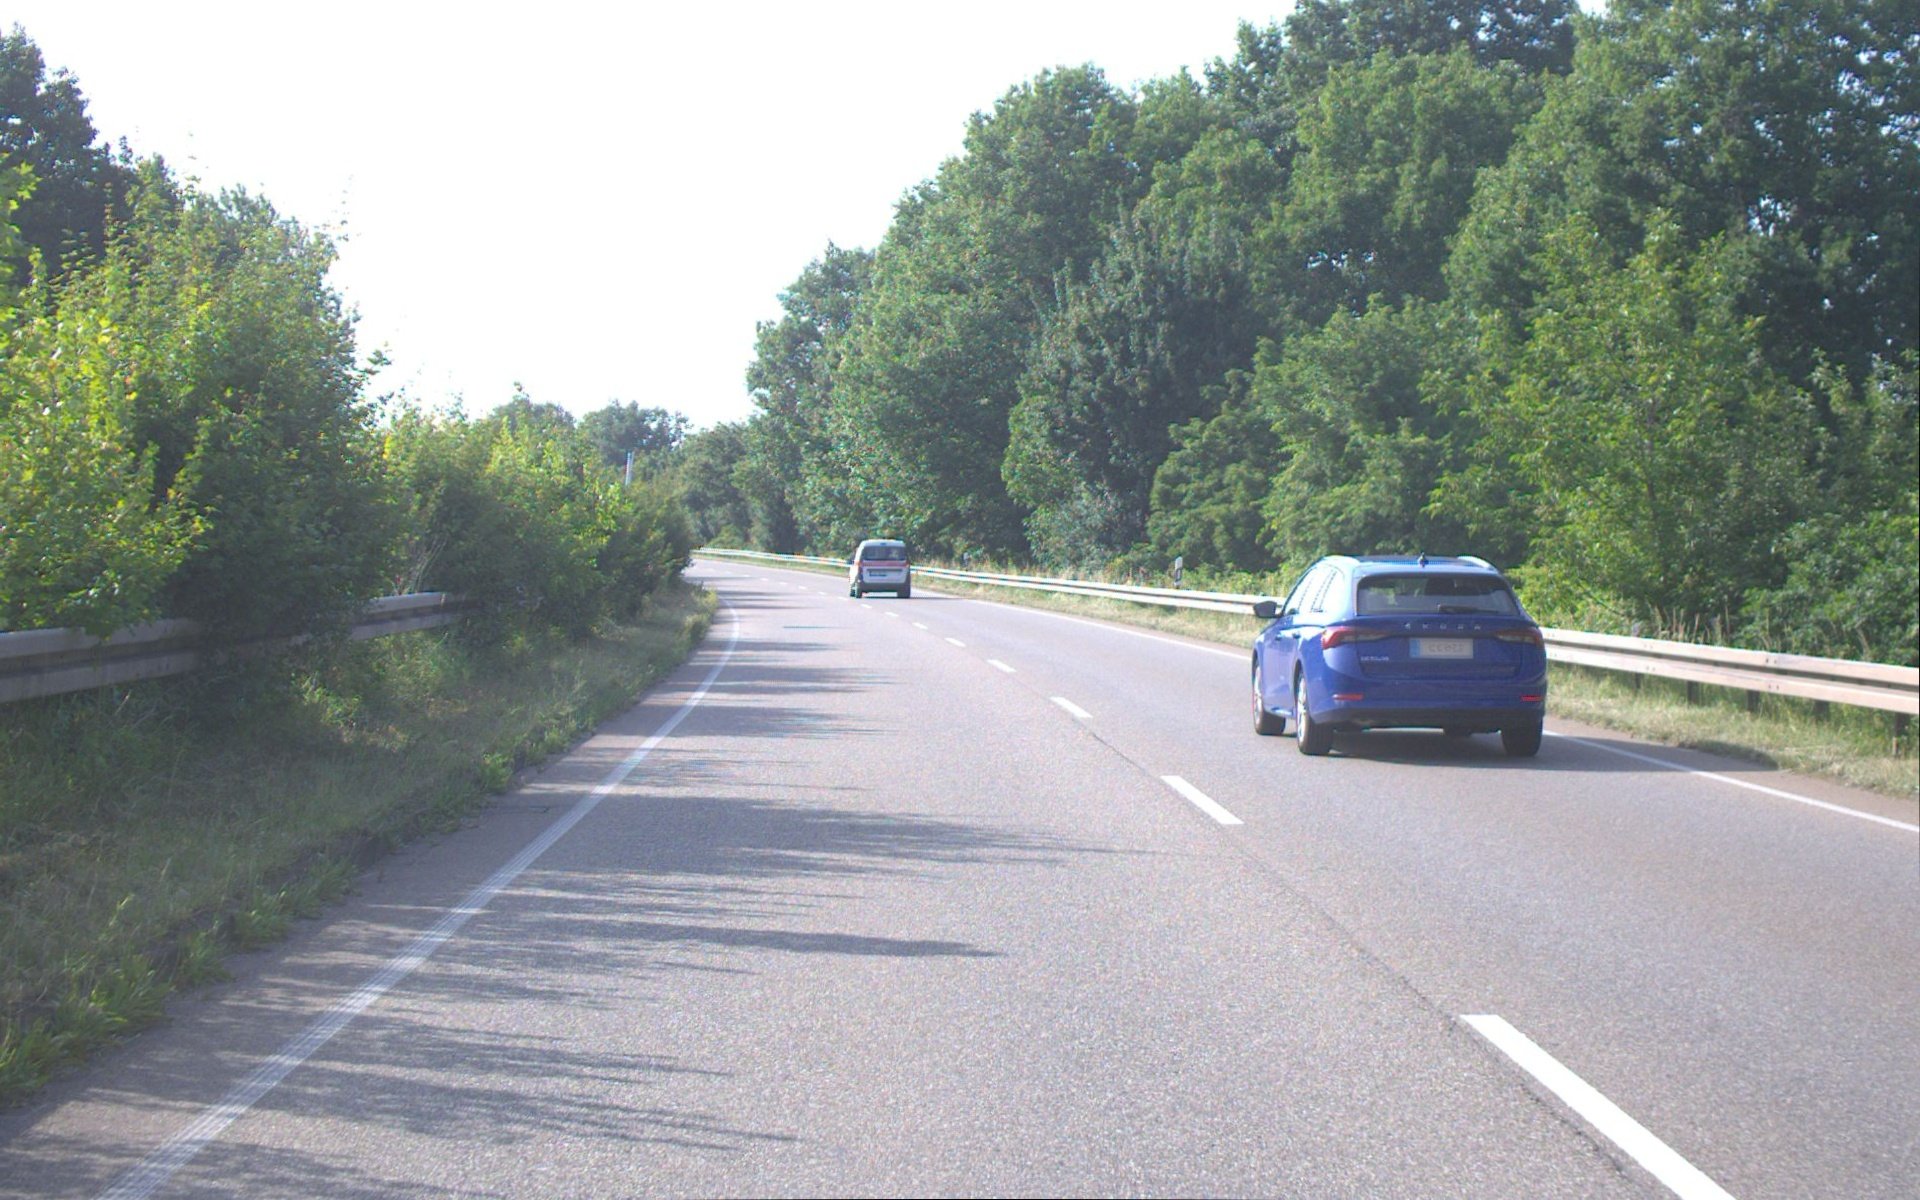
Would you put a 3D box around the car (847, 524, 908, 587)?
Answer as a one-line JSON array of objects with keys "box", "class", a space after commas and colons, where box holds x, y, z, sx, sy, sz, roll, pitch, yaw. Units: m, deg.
[{"box": [-2.589, -1.396, 107.000, 1.765, 1.875, 4.001, 1, 2, -3], "class": "car"}]

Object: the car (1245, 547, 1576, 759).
[{"box": [3.316, 0.341, 26.025, 1.779, 1.446, 4.001, 1, 1, -3], "class": "car"}]
